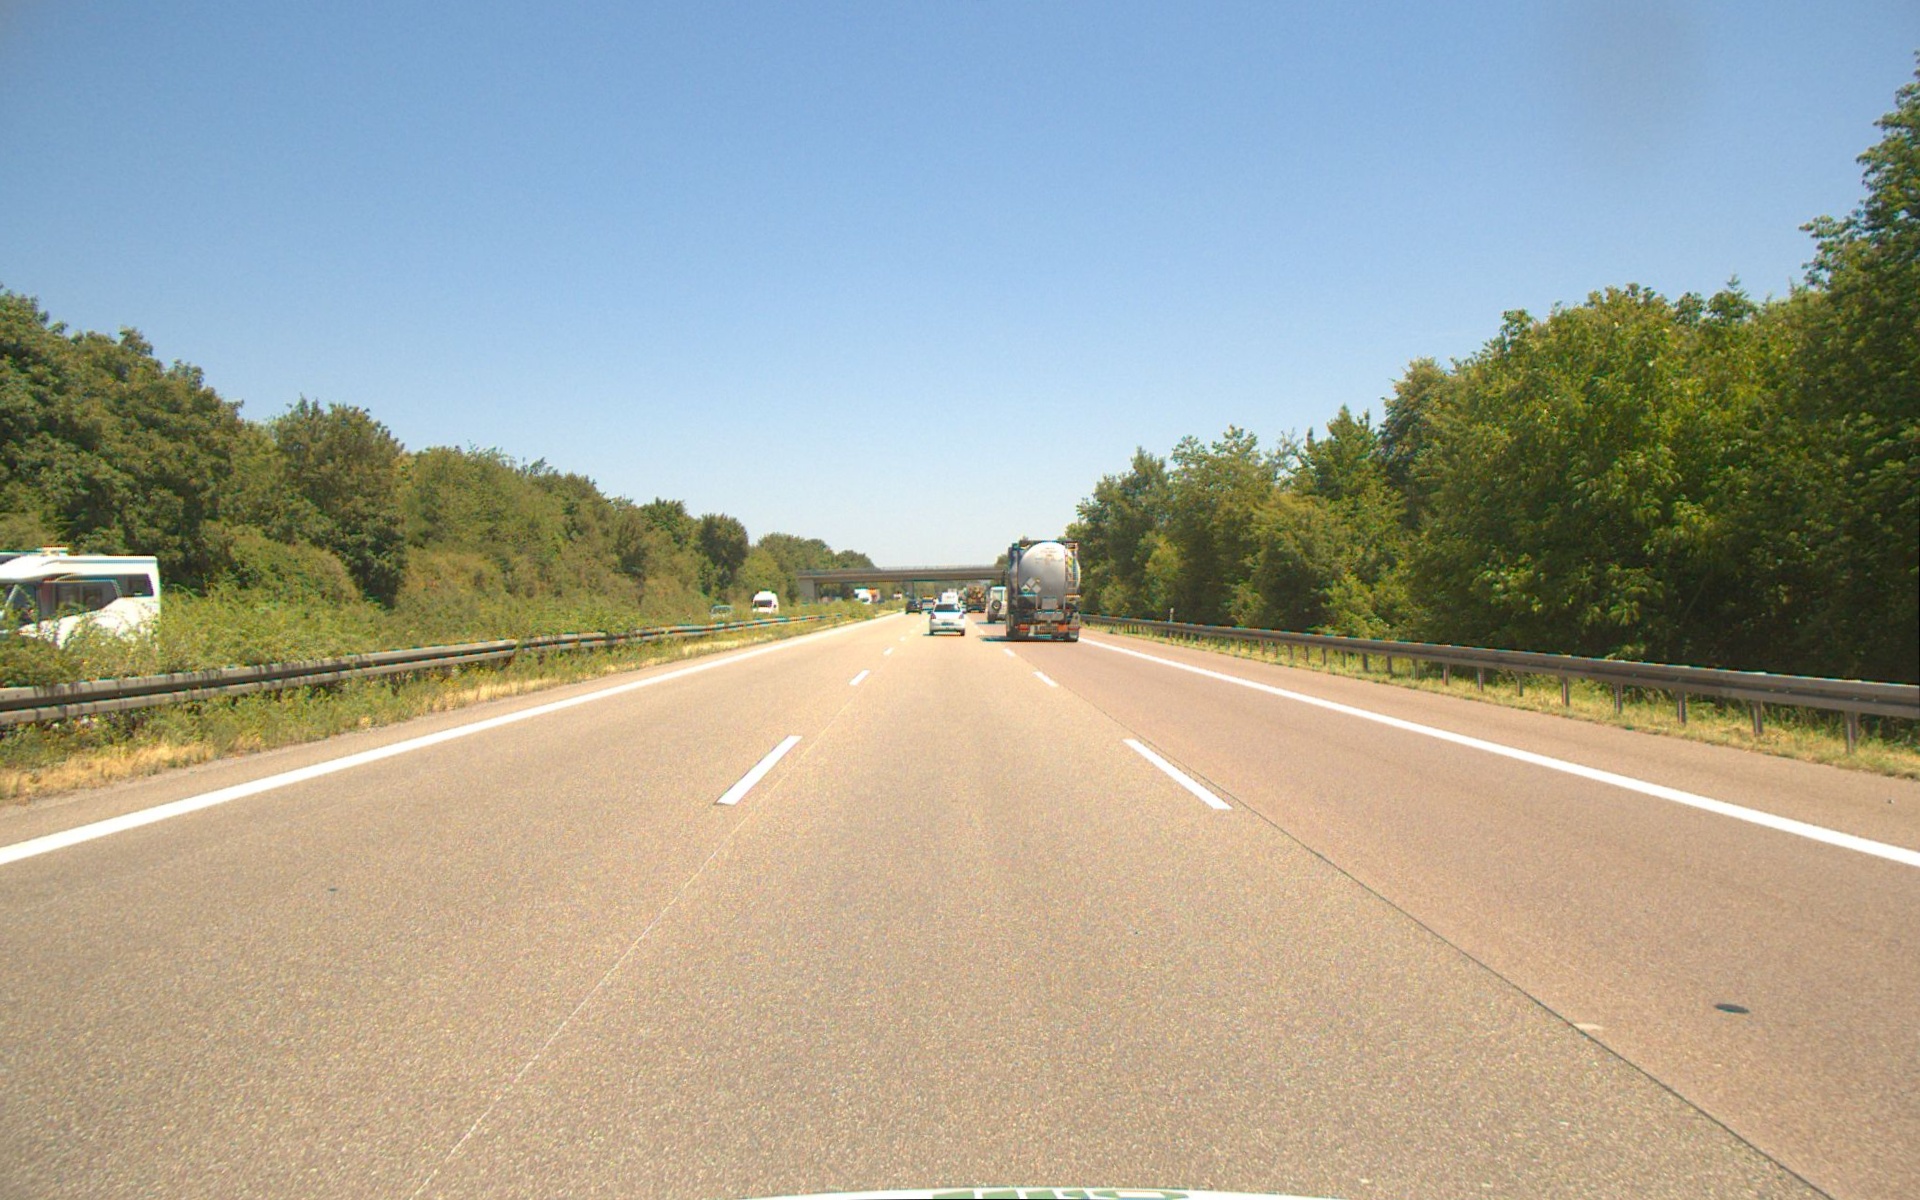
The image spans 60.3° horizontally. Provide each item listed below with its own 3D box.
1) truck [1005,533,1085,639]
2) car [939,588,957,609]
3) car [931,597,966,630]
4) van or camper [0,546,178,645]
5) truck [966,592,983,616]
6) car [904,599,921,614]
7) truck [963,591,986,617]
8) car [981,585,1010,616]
[{"bbox_3d":[3.454,-0.544,69.916,2.683,4.123,10.452,0,0,-1],"label":"truck"},{"bbox_3d":[-1.340,-0.161,188.532,1.952,2.384,4.387,0,0,0],"label":"car"},{"bbox_3d":[-0.555,0.636,77.583,1.594,1.505,3.999,0,0,-1],"label":"car"},{"bbox_3d":[-20.420,-0.093,37.297,2.447,2.049,6.363,0,0,1],"label":"van or camper"},{"bbox_3d":[2.061,0.531,232.175,2.243,3.297,6.343,1,0,-1],"label":"truck"},{"bbox_3d":[-5.651,0.770,196.724,1.953,1.756,4.785,0,0,-1],"label":"car"},{"bbox_3d":[1.901,0.557,221.458,2.855,3.297,6.343,1,0,-1],"label":"truck"},{"bbox_3d":[2.595,0.022,122.065,1.953,2.263,4.785,0,0,-1],"label":"car"}]
